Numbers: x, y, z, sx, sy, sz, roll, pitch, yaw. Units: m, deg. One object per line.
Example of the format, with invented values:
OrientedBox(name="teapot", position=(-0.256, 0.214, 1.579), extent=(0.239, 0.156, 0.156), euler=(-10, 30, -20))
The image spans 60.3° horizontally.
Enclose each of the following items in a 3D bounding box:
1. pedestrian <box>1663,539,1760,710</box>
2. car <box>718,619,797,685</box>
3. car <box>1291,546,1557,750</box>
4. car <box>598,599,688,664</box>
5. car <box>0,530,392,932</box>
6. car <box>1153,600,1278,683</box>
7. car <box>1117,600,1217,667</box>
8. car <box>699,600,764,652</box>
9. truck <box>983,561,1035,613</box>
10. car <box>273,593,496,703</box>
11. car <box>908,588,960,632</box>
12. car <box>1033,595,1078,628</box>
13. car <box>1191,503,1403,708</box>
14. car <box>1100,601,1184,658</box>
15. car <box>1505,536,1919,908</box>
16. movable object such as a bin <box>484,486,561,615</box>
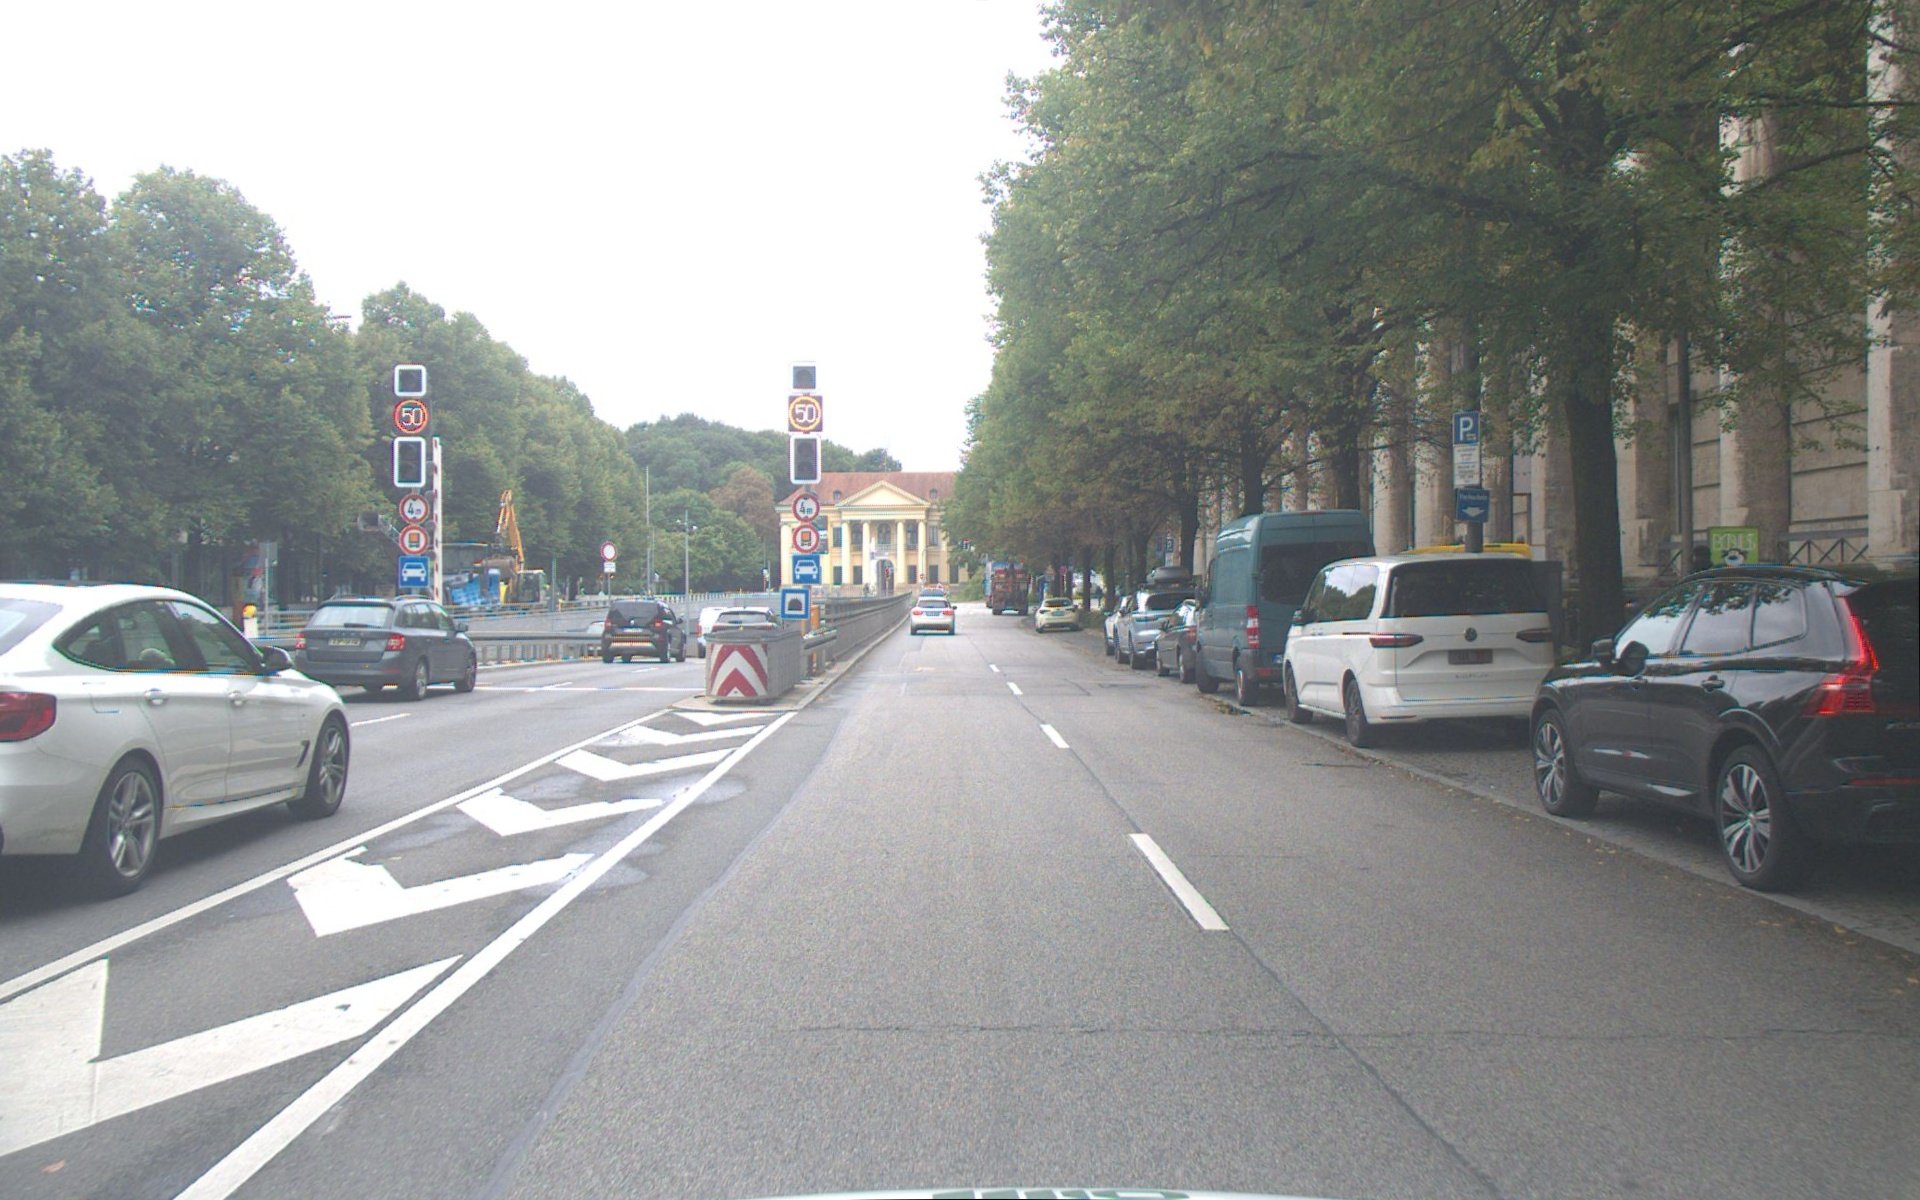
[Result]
OrientedBox(name="pedestrian", position=(8.726, 0.280, 19.232), extent=(0.763, 1.943, 0.771), euler=(1, 0, 0))
OrientedBox(name="car", position=(-5.336, 1.347, 44.007), extent=(1.675, 1.579, 3.999), euler=(1, 0, -1))
OrientedBox(name="car", position=(4.797, 0.445, 17.659), extent=(1.689, 1.900, 4.027), euler=(-1, 0, 0))
OrientedBox(name="car", position=(-8.596, 0.819, 45.119), extent=(1.687, 1.665, 4.204), euler=(-1, 0, -1))
OrientedBox(name="car", position=(-4.856, 0.549, 9.312), extent=(1.757, 1.665, 5.024), euler=(-1, 0, -2))
OrientedBox(name="car", position=(4.652, 0.716, 30.637), extent=(1.689, 1.388, 4.027), euler=(-1, 0, 0))
OrientedBox(name="car", position=(4.508, 0.695, 36.493), extent=(1.689, 1.347, 4.027), euler=(-1, 0, 0))
OrientedBox(name="car", position=(-8.693, 0.944, 63.292), extent=(1.860, 1.880, 4.954), euler=(-1, 0, -1))
OrientedBox(name="truck", position=(3.336, -0.893, 115.486), extent=(3.257, 3.426, 8.661), euler=(1, 0, -1))
OrientedBox(name="car", position=(-8.372, 0.649, 24.491), extent=(1.756, 1.473, 4.275), euler=(-1, 0, 1))
OrientedBox(name="car", position=(-1.066, 0.376, 66.097), extent=(1.745, 1.673, 3.995), euler=(1, 0, -6))
OrientedBox(name="car", position=(4.093, 0.472, 71.339), extent=(1.689, 1.347, 4.027), euler=(-1, 0, 0))
OrientedBox(name="car", position=(4.814, 0.058, 24.368), extent=(1.953, 2.689, 4.876), euler=(1, 0, -2))
OrientedBox(name="car", position=(4.591, 0.714, 42.219), extent=(1.689, 1.347, 4.027), euler=(-1, 0, 0))
OrientedBox(name="car", position=(4.863, 0.535, 9.872), extent=(1.689, 1.694, 4.589), euler=(-1, 0, 0))
OrientedBox(name="movable object such as a bin", position=(-23.193, -2.547, 87.884), extent=(2.644, 6.624, 5.175), euler=(1, 0, -1))
